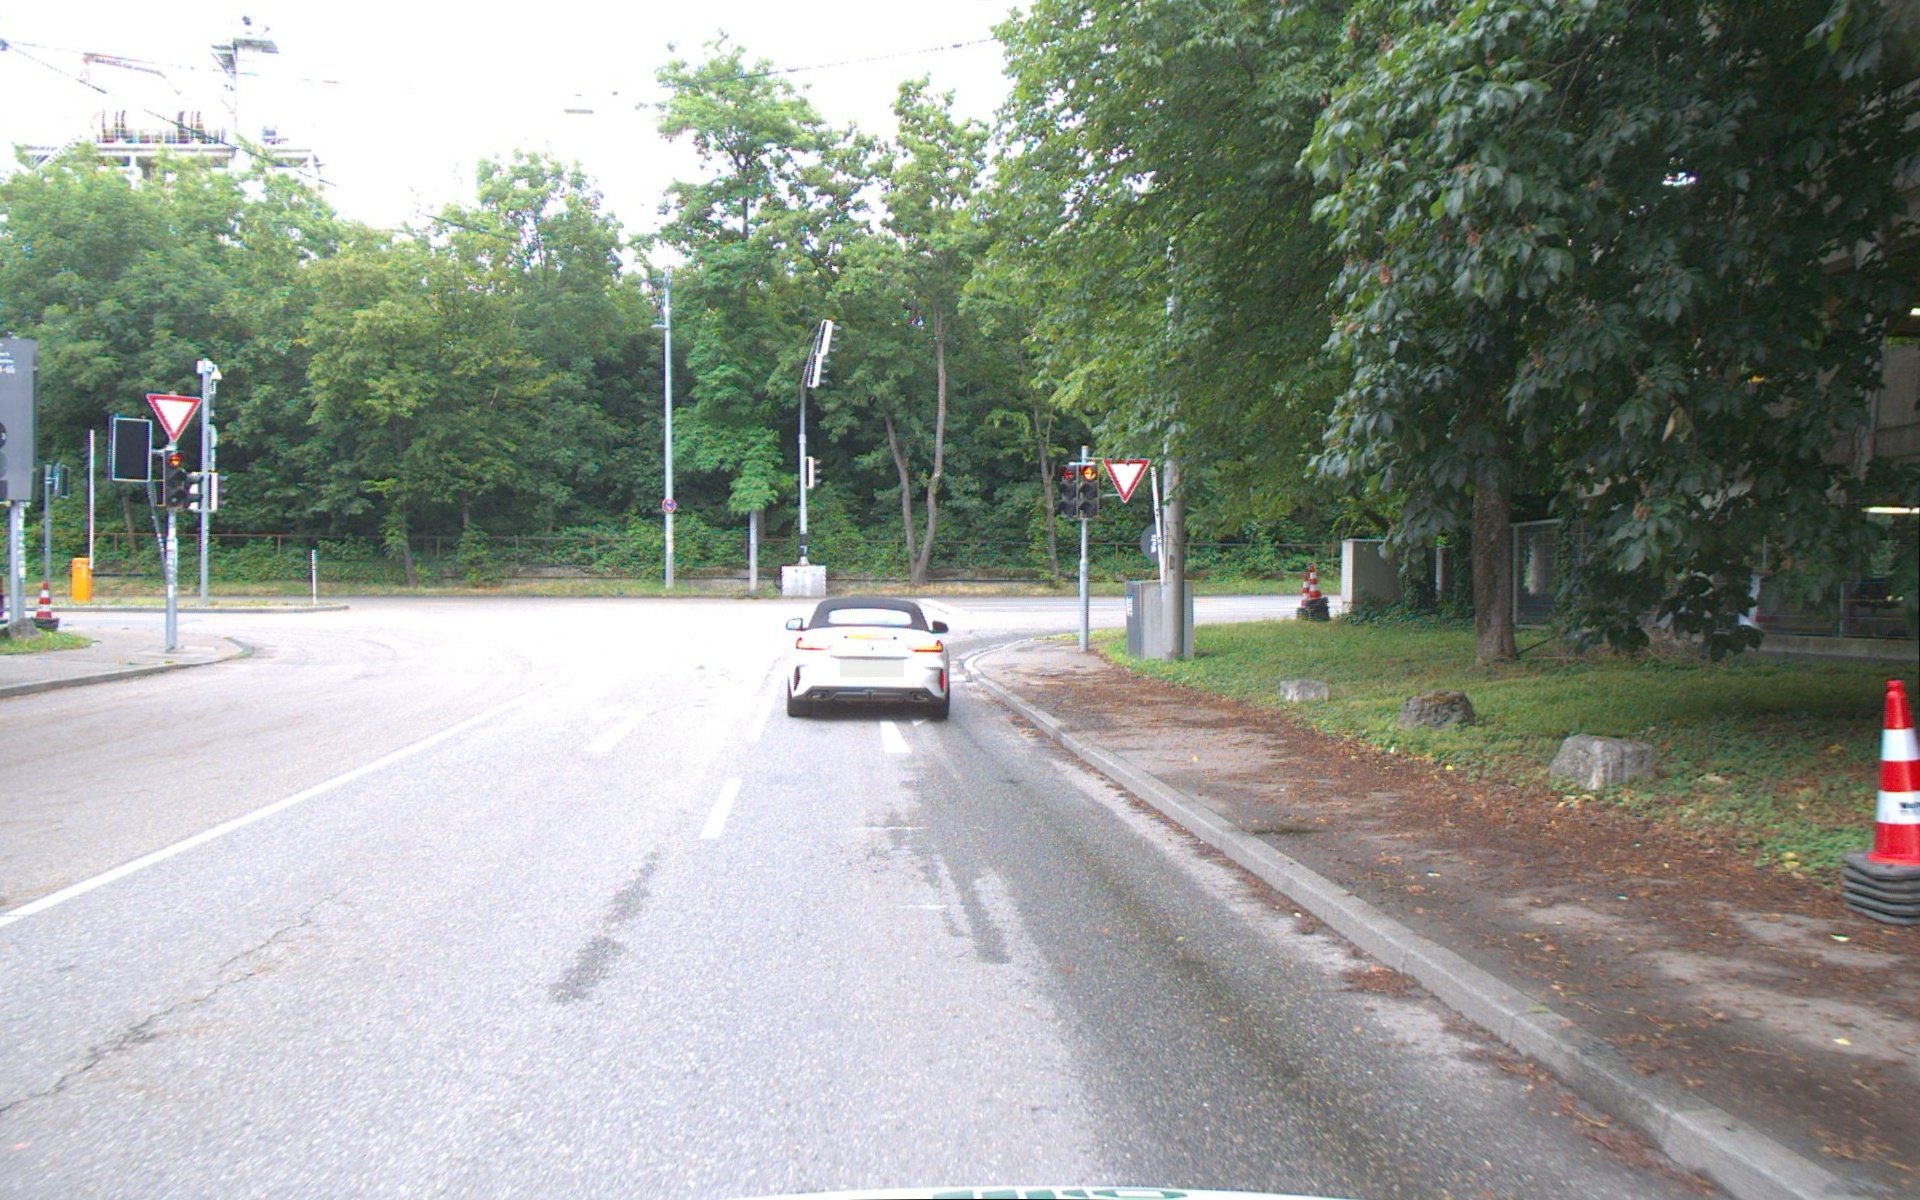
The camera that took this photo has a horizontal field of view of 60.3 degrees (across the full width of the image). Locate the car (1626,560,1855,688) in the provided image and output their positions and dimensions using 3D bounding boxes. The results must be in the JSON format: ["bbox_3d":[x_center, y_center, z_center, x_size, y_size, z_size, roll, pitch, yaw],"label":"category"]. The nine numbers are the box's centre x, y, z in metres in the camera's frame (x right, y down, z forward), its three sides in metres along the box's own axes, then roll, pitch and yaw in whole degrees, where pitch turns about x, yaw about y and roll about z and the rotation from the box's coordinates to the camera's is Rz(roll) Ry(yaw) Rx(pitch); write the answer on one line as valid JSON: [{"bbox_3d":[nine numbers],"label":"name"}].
[{"bbox_3d":[11.551,0.369,24.744,1.451,1.738,3.715,1,-1,-4],"label":"car"}]

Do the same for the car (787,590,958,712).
[{"bbox_3d":[-1.139,0.584,19.731,1.792,1.279,3.994,1,-1,-7],"label":"car"}]

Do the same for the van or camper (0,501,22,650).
[{"bbox_3d":[-17.784,-0.315,25.438,5.425,2.354,2.060,-2,-1,-4],"label":"van or camper"}]

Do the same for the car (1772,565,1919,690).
[{"bbox_3d":[13.926,0.429,24.685,1.549,1.738,3.765,1,-1,-4],"label":"car"}]
